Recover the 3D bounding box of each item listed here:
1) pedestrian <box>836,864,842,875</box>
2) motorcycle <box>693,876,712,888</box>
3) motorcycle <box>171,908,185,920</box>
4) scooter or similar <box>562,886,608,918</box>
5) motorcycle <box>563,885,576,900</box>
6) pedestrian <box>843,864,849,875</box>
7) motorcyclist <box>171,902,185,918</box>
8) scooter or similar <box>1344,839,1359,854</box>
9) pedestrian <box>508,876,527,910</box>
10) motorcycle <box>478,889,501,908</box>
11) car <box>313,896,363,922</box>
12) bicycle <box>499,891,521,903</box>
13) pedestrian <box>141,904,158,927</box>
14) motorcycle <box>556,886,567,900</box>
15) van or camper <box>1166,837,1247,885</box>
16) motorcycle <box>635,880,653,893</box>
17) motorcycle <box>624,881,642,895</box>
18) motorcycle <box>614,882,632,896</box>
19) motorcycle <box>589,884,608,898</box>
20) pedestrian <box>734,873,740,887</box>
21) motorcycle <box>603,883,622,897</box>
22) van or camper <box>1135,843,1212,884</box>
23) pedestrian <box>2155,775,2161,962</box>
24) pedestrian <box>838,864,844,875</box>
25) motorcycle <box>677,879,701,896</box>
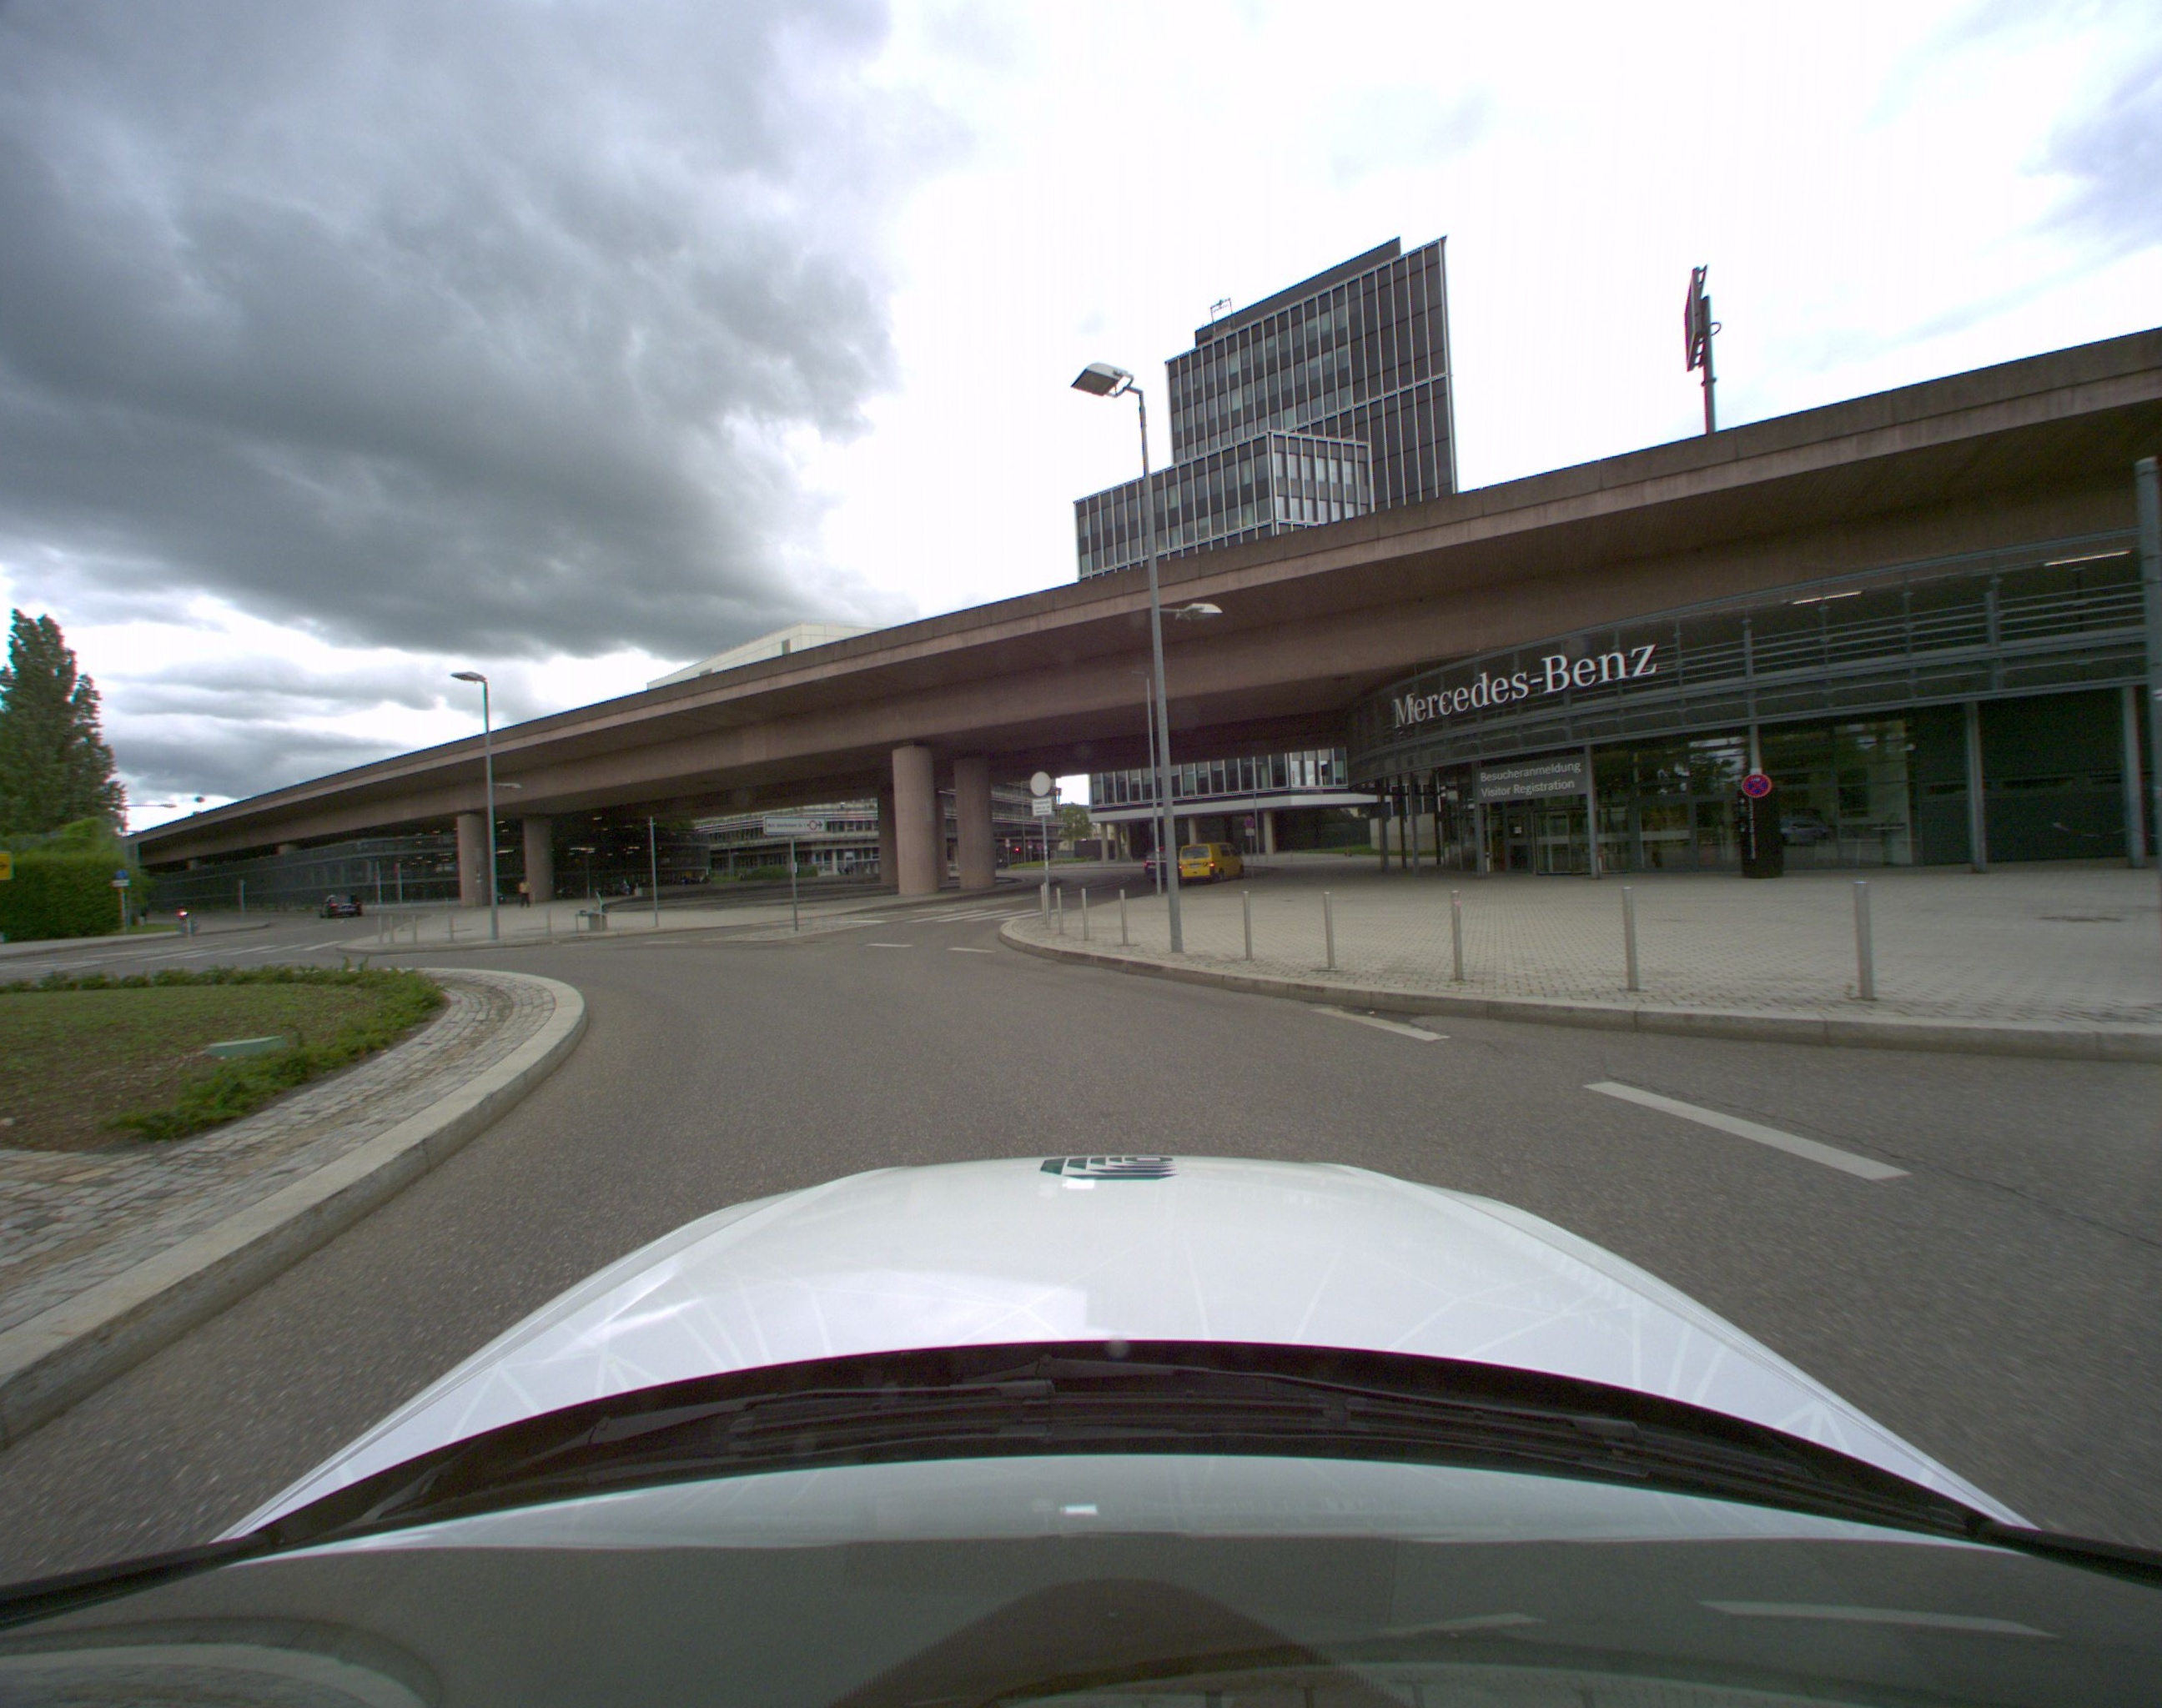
[{"bbox_3d":[-33.225,2.076,111.768,0.493,1.481,0.545,-3,1,3],"label":"pedestrian"},{"bbox_3d":[-40.297,3.020,86.688,2.333,1.220,0.678,-2,1,35],"label":"motorcycle"},{"bbox_3d":[-88.050,5.813,79.399,1.931,1.022,0.753,-2,1,39],"label":"motorcycle"},{"bbox_3d":[-22.310,2.158,36.678,1.658,1.295,0.512,-3,1,-41],"label":"scooter or similar"},{"bbox_3d":[-46.704,3.497,74.359,0.836,1.220,2.057,-3,1,-34],"label":"motorcycle"},{"bbox_3d":[-31.738,2.081,110.094,0.493,1.481,0.545,-3,1,3],"label":"pedestrian"},{"bbox_3d":[-87.993,5.456,79.348,0.858,1.419,0.769,-2,1,39],"label":"motorcyclist"},{"bbox_3d":[20.717,-0.610,62.386,0.695,1.105,1.504,-3,1,5],"label":"scooter or similar"},{"bbox_3d":[-34.358,2.367,49.672,0.787,2.013,1.029,-3,1,-31],"label":"pedestrian"},{"bbox_3d":[-49.360,3.727,67.958,1.742,1.455,0.647,-2,1,18],"label":"motorcycle"},{"bbox_3d":[-54.582,3.987,59.829,3.657,1.711,1.858,-2,1,34],"label":"car"},{"bbox_3d":[-51.494,3.868,73.458,1.481,0.976,0.447,-3,1,-30],"label":"bicycle"},{"bbox_3d":[-74.425,4.918,65.059,0.908,1.780,0.811,-2,1,41],"label":"pedestrian"},{"bbox_3d":[-45.423,3.406,71.155,0.522,1.171,1.143,-3,-2,-19],"label":"motorcycle"},{"bbox_3d":[6.211,0.292,39.935,2.332,1.999,4.534,-5,0,30],"label":"van or camper"},{"bbox_3d":[-42.932,3.175,79.986,2.051,1.220,0.678,-2,1,35],"label":"motorcycle"},{"bbox_3d":[-43.435,3.285,78.961,2.051,1.286,0.678,-2,1,35],"label":"motorcycle"},{"bbox_3d":[-43.940,3.360,78.117,2.051,1.220,0.678,-2,1,35],"label":"motorcycle"},{"bbox_3d":[-45.322,3.448,76.450,2.051,1.220,0.678,-2,1,35],"label":"motorcycle"},{"bbox_3d":[-50.304,3.775,119.038,0.566,2.014,0.532,-4,-1,41],"label":"pedestrian"},{"bbox_3d":[-44.522,3.399,77.363,2.051,1.220,0.678,-2,1,35],"label":"motorcycle"},{"bbox_3d":[5.016,0.464,43.314,2.126,1.892,4.933,-2,1,31],"label":"van or camper"},{"bbox_3d":[10.002,0.136,6.885,0.854,1.705,0.777,-2,1,30],"label":"pedestrian"},{"bbox_3d":[-32.418,2.114,110.011,0.493,1.481,0.545,-3,1,3],"label":"pedestrian"},{"bbox_3d":[-31.747,2.699,65.956,0.543,1.264,1.948,-2,1,13],"label":"motorcycle"}]
